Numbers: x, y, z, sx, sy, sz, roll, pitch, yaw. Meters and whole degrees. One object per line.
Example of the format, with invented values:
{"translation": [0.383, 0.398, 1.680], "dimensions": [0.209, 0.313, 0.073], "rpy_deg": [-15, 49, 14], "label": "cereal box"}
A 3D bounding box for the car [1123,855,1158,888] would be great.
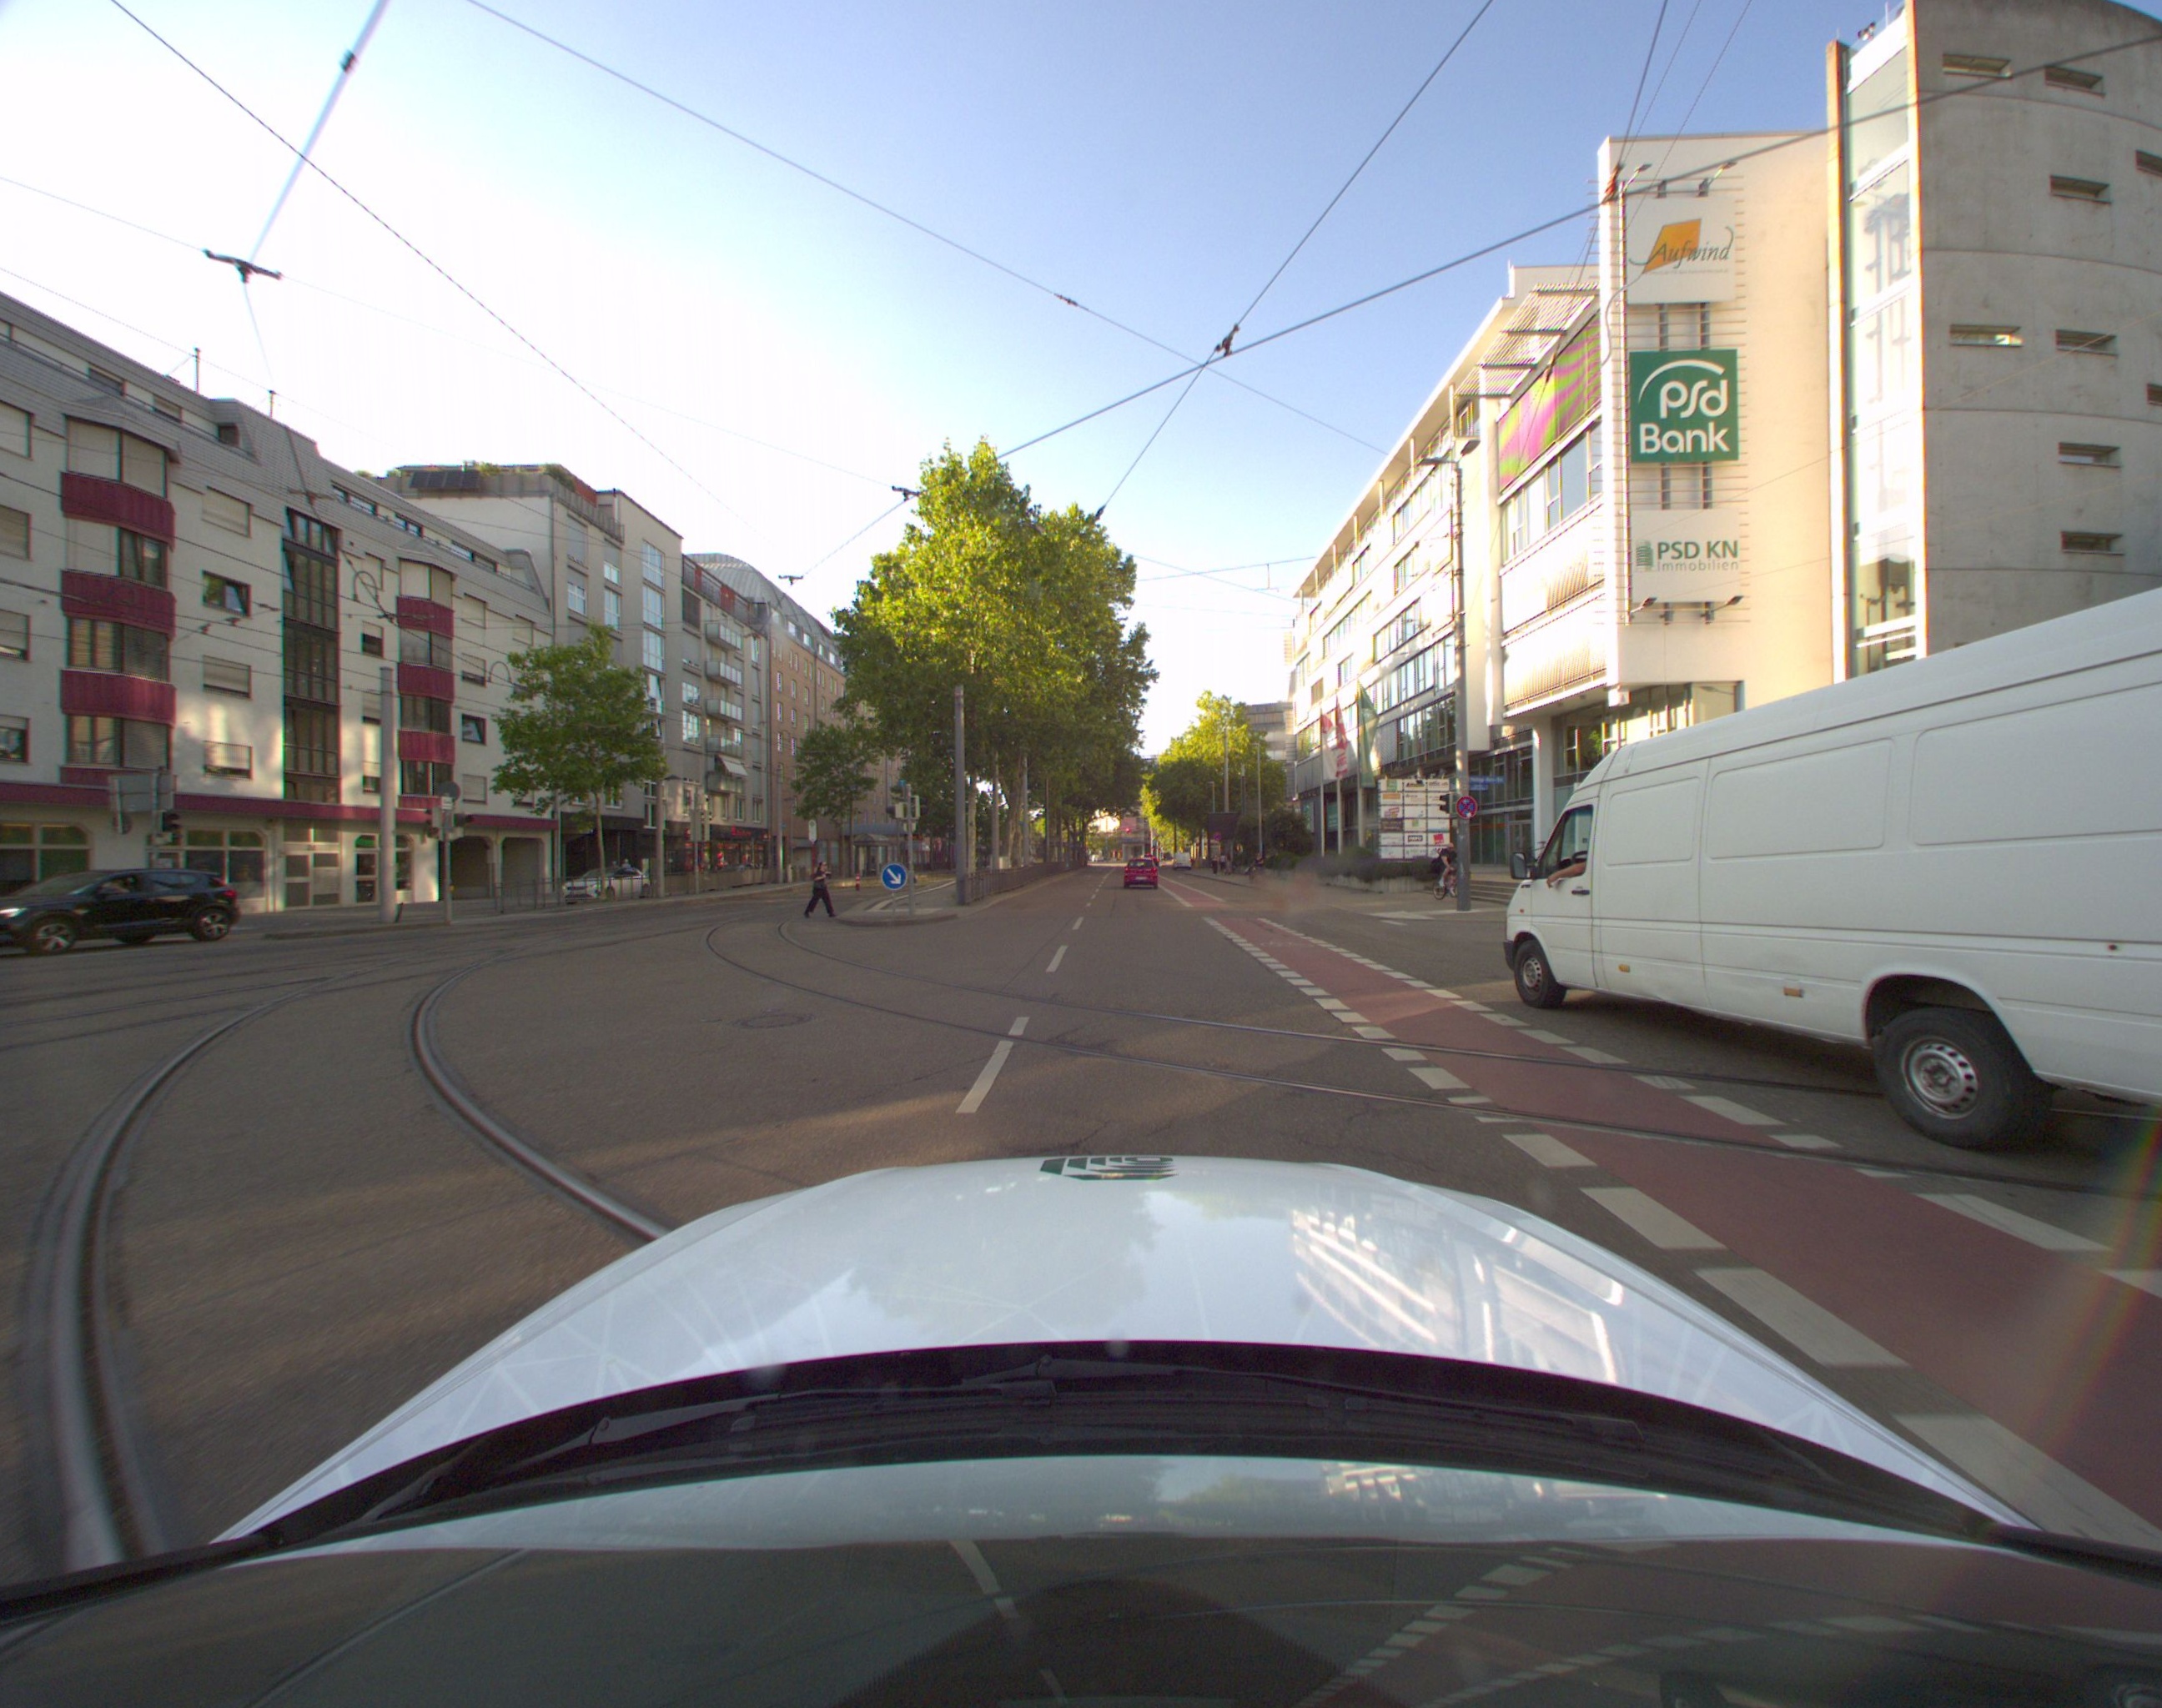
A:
{"translation": [2.830, 0.803, 39.282], "dimensions": [1.607, 1.535, 3.414], "rpy_deg": [0, 0, 2], "label": "car"}

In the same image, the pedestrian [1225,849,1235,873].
{"translation": [11.749, 0.561, 64.150], "dimensions": [0.538, 1.796, 0.907], "rpy_deg": [-4, -1, 0], "label": "pedestrian"}

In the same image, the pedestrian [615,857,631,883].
{"translation": [-26.532, 0.939, 47.185], "dimensions": [0.533, 1.494, 0.587], "rpy_deg": [-1, 0, -1], "label": "pedestrian"}

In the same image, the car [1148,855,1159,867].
{"translation": [11.566, 1.144, 129.384], "dimensions": [1.628, 1.800, 3.334], "rpy_deg": [-1, 0, 4], "label": "car"}

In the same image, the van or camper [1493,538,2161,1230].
{"translation": [5.341, 0.118, 5.715], "dimensions": [1.961, 2.716, 6.309], "rpy_deg": [0, 0, 3], "label": "van or camper"}

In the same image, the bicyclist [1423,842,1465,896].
{"translation": [11.171, 0.454, 25.089], "dimensions": [0.719, 1.603, 1.089], "rpy_deg": [-3, 0, 1], "label": "bicyclist"}

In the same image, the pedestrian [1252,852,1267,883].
{"translation": [9.817, 0.726, 44.765], "dimensions": [0.644, 1.680, 0.651], "rpy_deg": [-1, 0, 0], "label": "pedestrian"}

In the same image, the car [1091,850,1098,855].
{"translation": [3.882, -0.418, 232.265], "dimensions": [1.773, 1.588, 3.408], "rpy_deg": [0, 0, -2], "label": "car"}

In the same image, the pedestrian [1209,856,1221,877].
{"translation": [10.409, 0.936, 63.179], "dimensions": [0.641, 1.579, 0.722], "rpy_deg": [-5, -1, -6], "label": "pedestrian"}

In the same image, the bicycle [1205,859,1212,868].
{"translation": [15.622, 1.202, 99.548], "dimensions": [0.583, 1.067, 1.900], "rpy_deg": [-2, -1, 2], "label": "bicycle"}

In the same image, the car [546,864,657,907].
{"translation": [-19.751, 1.255, 33.808], "dimensions": [1.947, 1.595, 4.262], "rpy_deg": [-1, 0, 2], "label": "car"}

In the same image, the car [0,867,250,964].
{"translation": [-20.172, 1.148, 16.618], "dimensions": [1.947, 1.672, 4.262], "rpy_deg": [-1, 0, 2], "label": "car"}

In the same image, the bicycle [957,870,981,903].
{"translation": [-3.609, 1.037, 26.373], "dimensions": [0.393, 0.949, 1.354], "rpy_deg": [-1, 2, 8], "label": "bicycle"}

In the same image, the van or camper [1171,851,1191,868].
{"translation": [11.558, 0.644, 94.225], "dimensions": [1.985, 1.989, 4.749], "rpy_deg": [-1, 0, 3], "label": "van or camper"}

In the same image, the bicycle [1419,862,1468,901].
{"translation": [11.195, 0.826, 25.212], "dimensions": [0.693, 1.098, 1.751], "rpy_deg": [-5, 0, 2], "label": "bicycle"}

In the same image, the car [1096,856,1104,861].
{"translation": [5.092, 1.222, 219.599], "dimensions": [1.773, 1.535, 3.408], "rpy_deg": [0, 0, -2], "label": "car"}

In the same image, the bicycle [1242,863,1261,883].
{"translation": [9.358, 1.036, 44.723], "dimensions": [0.519, 0.975, 2.202], "rpy_deg": [-5, 0, 1], "label": "bicycle"}

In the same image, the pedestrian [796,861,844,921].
{"translation": [-6.990, 0.972, 21.832], "dimensions": [1.043, 1.544, 0.694], "rpy_deg": [-1, 0, -1], "label": "pedestrian"}

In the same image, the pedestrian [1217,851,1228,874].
{"translation": [11.137, 0.674, 64.139], "dimensions": [0.562, 1.702, 0.907], "rpy_deg": [-4, -1, 0], "label": "pedestrian"}

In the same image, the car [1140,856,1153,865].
{"translation": [10.983, 1.026, 137.658], "dimensions": [1.773, 1.535, 3.509], "rpy_deg": [0, 0, -2], "label": "car"}

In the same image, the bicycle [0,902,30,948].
{"translation": [-24.592, 1.591, 18.057], "dimensions": [1.837, 0.985, 0.553], "rpy_deg": [-1, 0, -1], "label": "bicycle"}

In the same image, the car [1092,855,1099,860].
{"translation": [4.064, 0.960, 226.231], "dimensions": [1.773, 1.535, 3.408], "rpy_deg": [0, 0, -2], "label": "car"}
